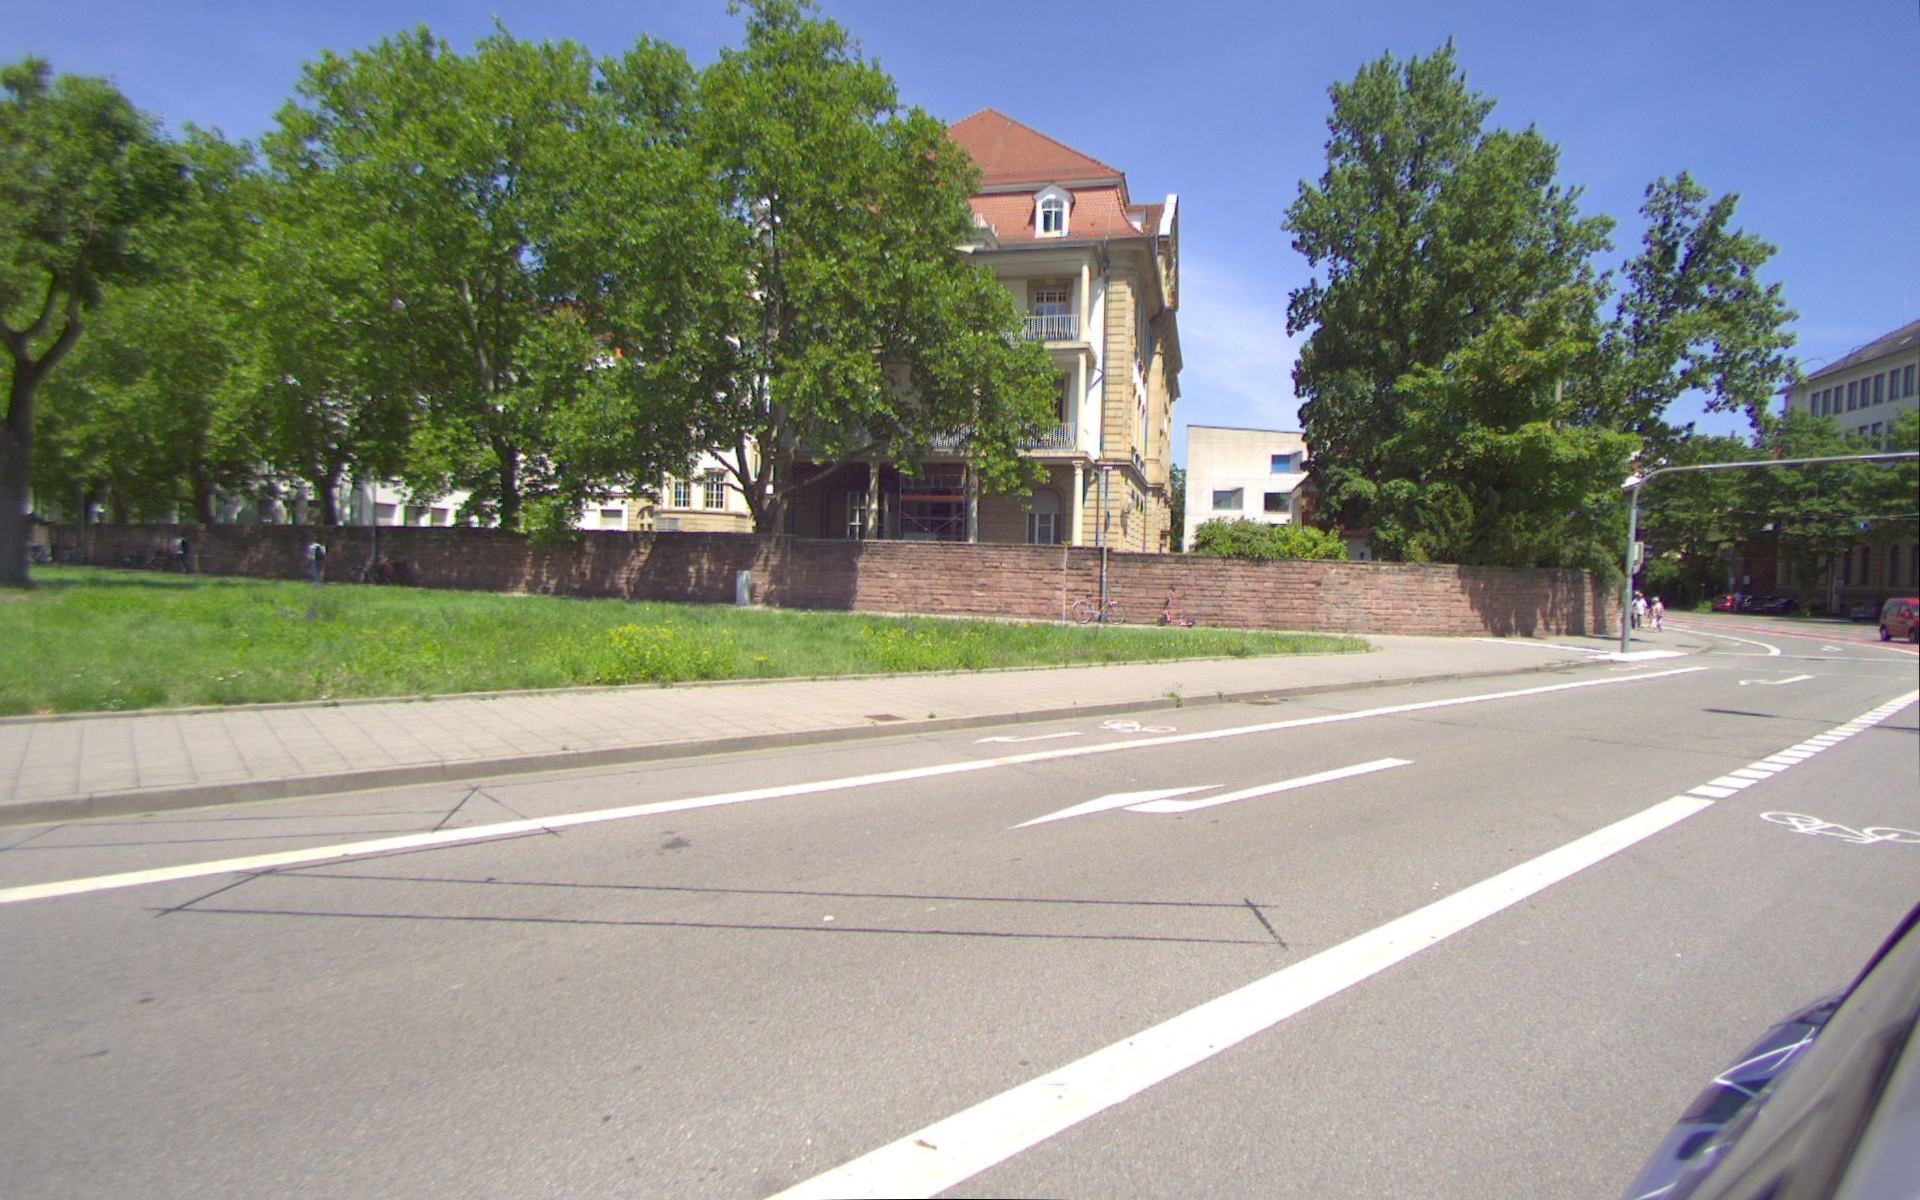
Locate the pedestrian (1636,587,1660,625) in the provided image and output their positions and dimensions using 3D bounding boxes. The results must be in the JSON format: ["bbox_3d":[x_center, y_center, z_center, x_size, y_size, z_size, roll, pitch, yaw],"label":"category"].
[{"bbox_3d":[30.352,0.251,44.657,0.597,1.631,0.555,4,1,17],"label":"pedestrian"}]

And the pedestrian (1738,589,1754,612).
[{"bbox_3d":[60.874,0.024,78.389,0.715,1.691,0.640,2,1,20],"label":"pedestrian"}]

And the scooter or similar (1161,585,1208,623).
[{"bbox_3d":[6.759,0.109,30.434,1.323,1.122,0.375,0,0,-2],"label":"scooter or similar"}]

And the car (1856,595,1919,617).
[{"bbox_3d":[61.793,0.386,67.273,3.088,1.481,1.573,0,0,-3],"label":"car"}]

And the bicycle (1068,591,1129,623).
[{"bbox_3d":[4.139,0.209,30.301,1.743,0.940,0.678,0,0,5],"label":"bicycle"}]

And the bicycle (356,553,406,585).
[{"bbox_3d":[-22.179,-1.179,38.750,2.144,1.197,0.454,0,0,22],"label":"bicycle"}]

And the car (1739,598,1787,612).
[{"bbox_3d":[65.603,0.397,82.677,2.930,1.113,1.282,0,0,-3],"label":"car"}]

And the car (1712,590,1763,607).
[{"bbox_3d":[66.888,-0.155,87.045,3.504,1.471,1.619,0,0,-14],"label":"car"}]

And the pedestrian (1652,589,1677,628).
[{"bbox_3d":[30.014,0.362,43.111,0.597,1.631,0.555,4,1,17],"label":"pedestrian"}]

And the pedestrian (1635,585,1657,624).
[{"bbox_3d":[31.498,0.218,46.464,0.596,1.733,0.555,4,1,16],"label":"pedestrian"}]

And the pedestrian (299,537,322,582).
[{"bbox_3d":[-25.101,-1.559,39.106,0.521,1.743,0.584,0,0,25],"label":"pedestrian"}]

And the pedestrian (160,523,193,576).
[{"bbox_3d":[-34.653,-2.221,44.759,1.067,2.320,0.839,0,0,32],"label":"pedestrian"}]

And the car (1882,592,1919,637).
[{"bbox_3d":[38.986,0.582,40.342,1.811,1.788,4.250,0,0,21],"label":"car"}]
